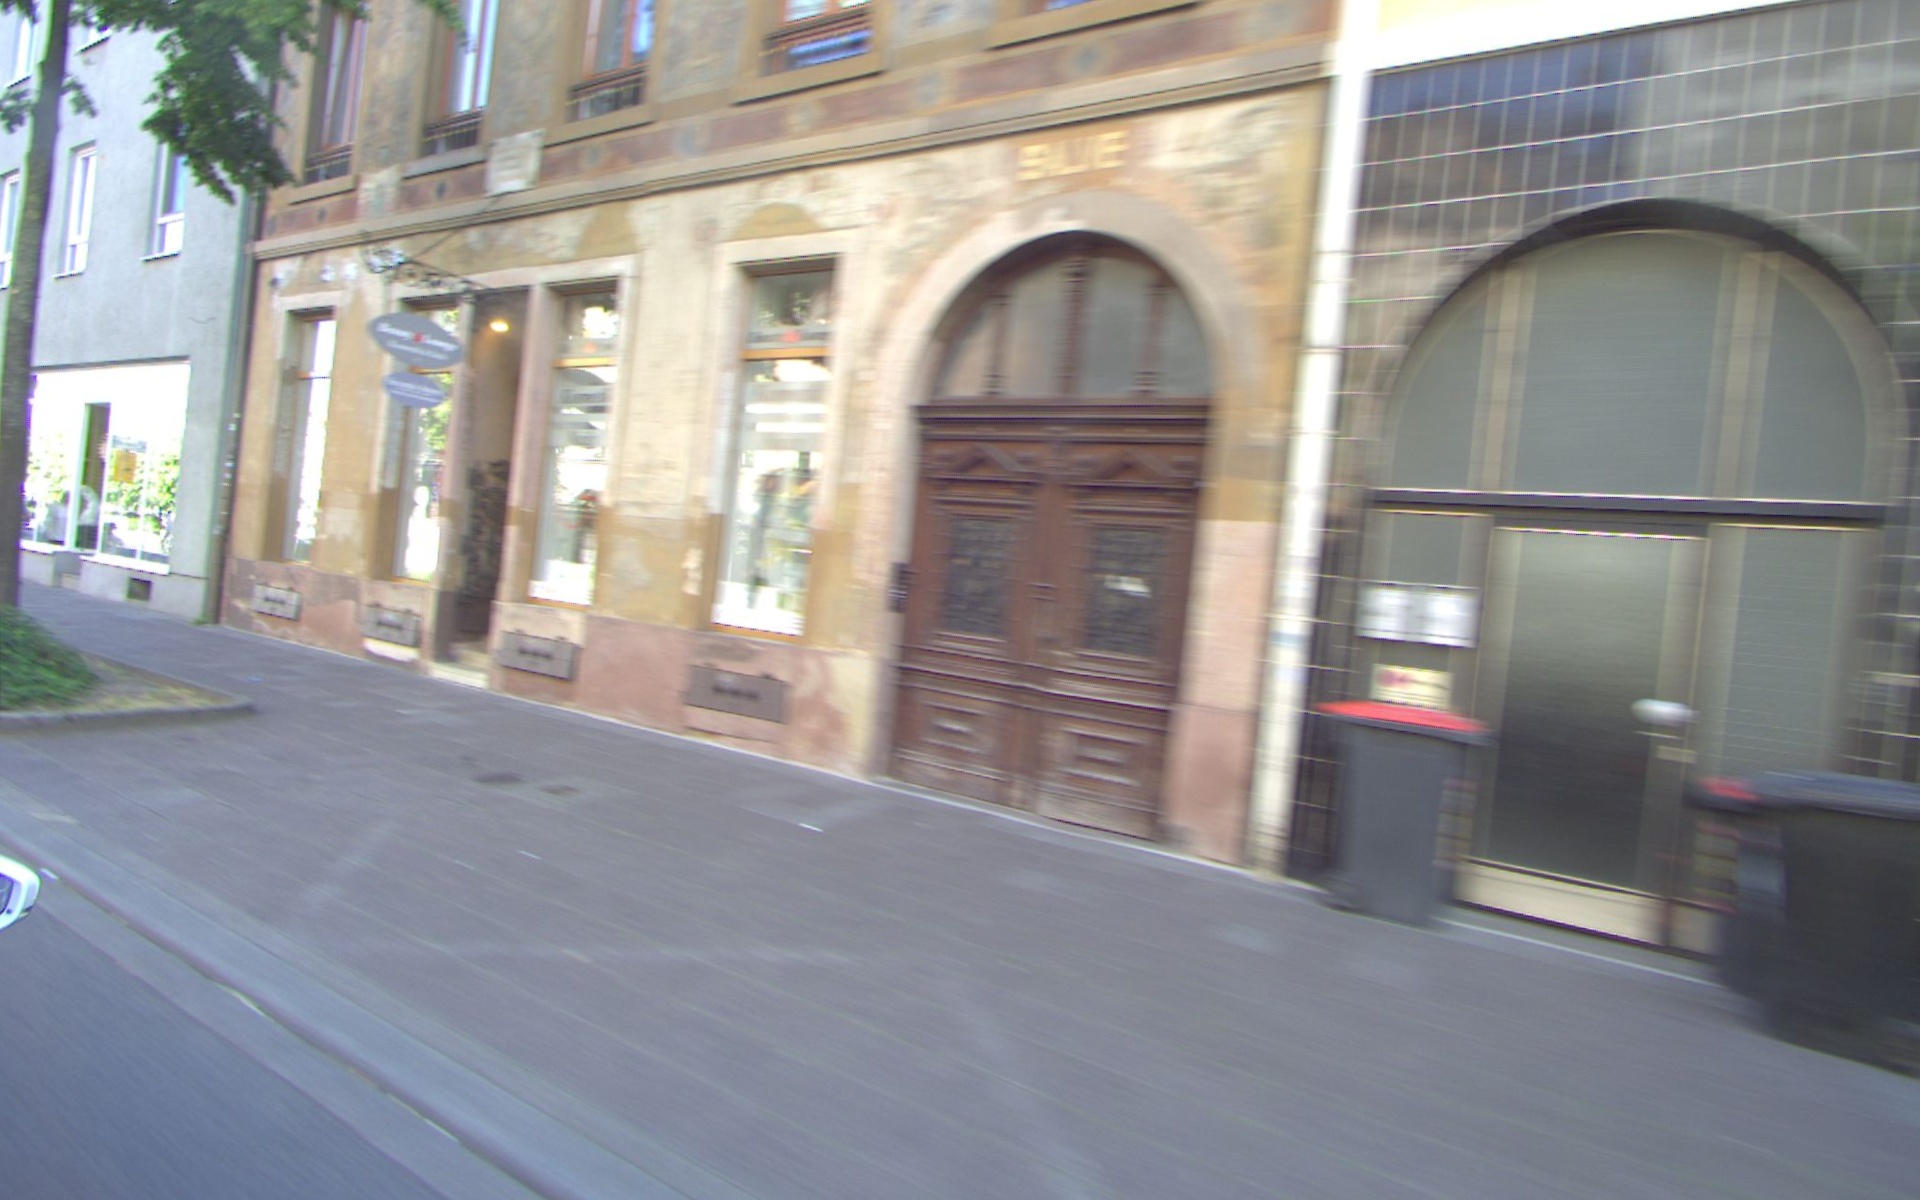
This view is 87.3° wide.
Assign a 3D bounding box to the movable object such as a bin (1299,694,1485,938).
[{"bbox_3d":[2.261,1.077,5.259,0.710,1.054,0.588,7,3,32],"label":"movable object such as a bin"}]

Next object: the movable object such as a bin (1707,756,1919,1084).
[{"bbox_3d":[3.503,1.232,4.000,0.710,1.054,0.522,7,3,32],"label":"movable object such as a bin"}]

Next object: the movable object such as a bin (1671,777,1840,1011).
[{"bbox_3d":[3.626,1.312,4.622,0.471,0.871,0.511,7,1,32],"label":"movable object such as a bin"}]
